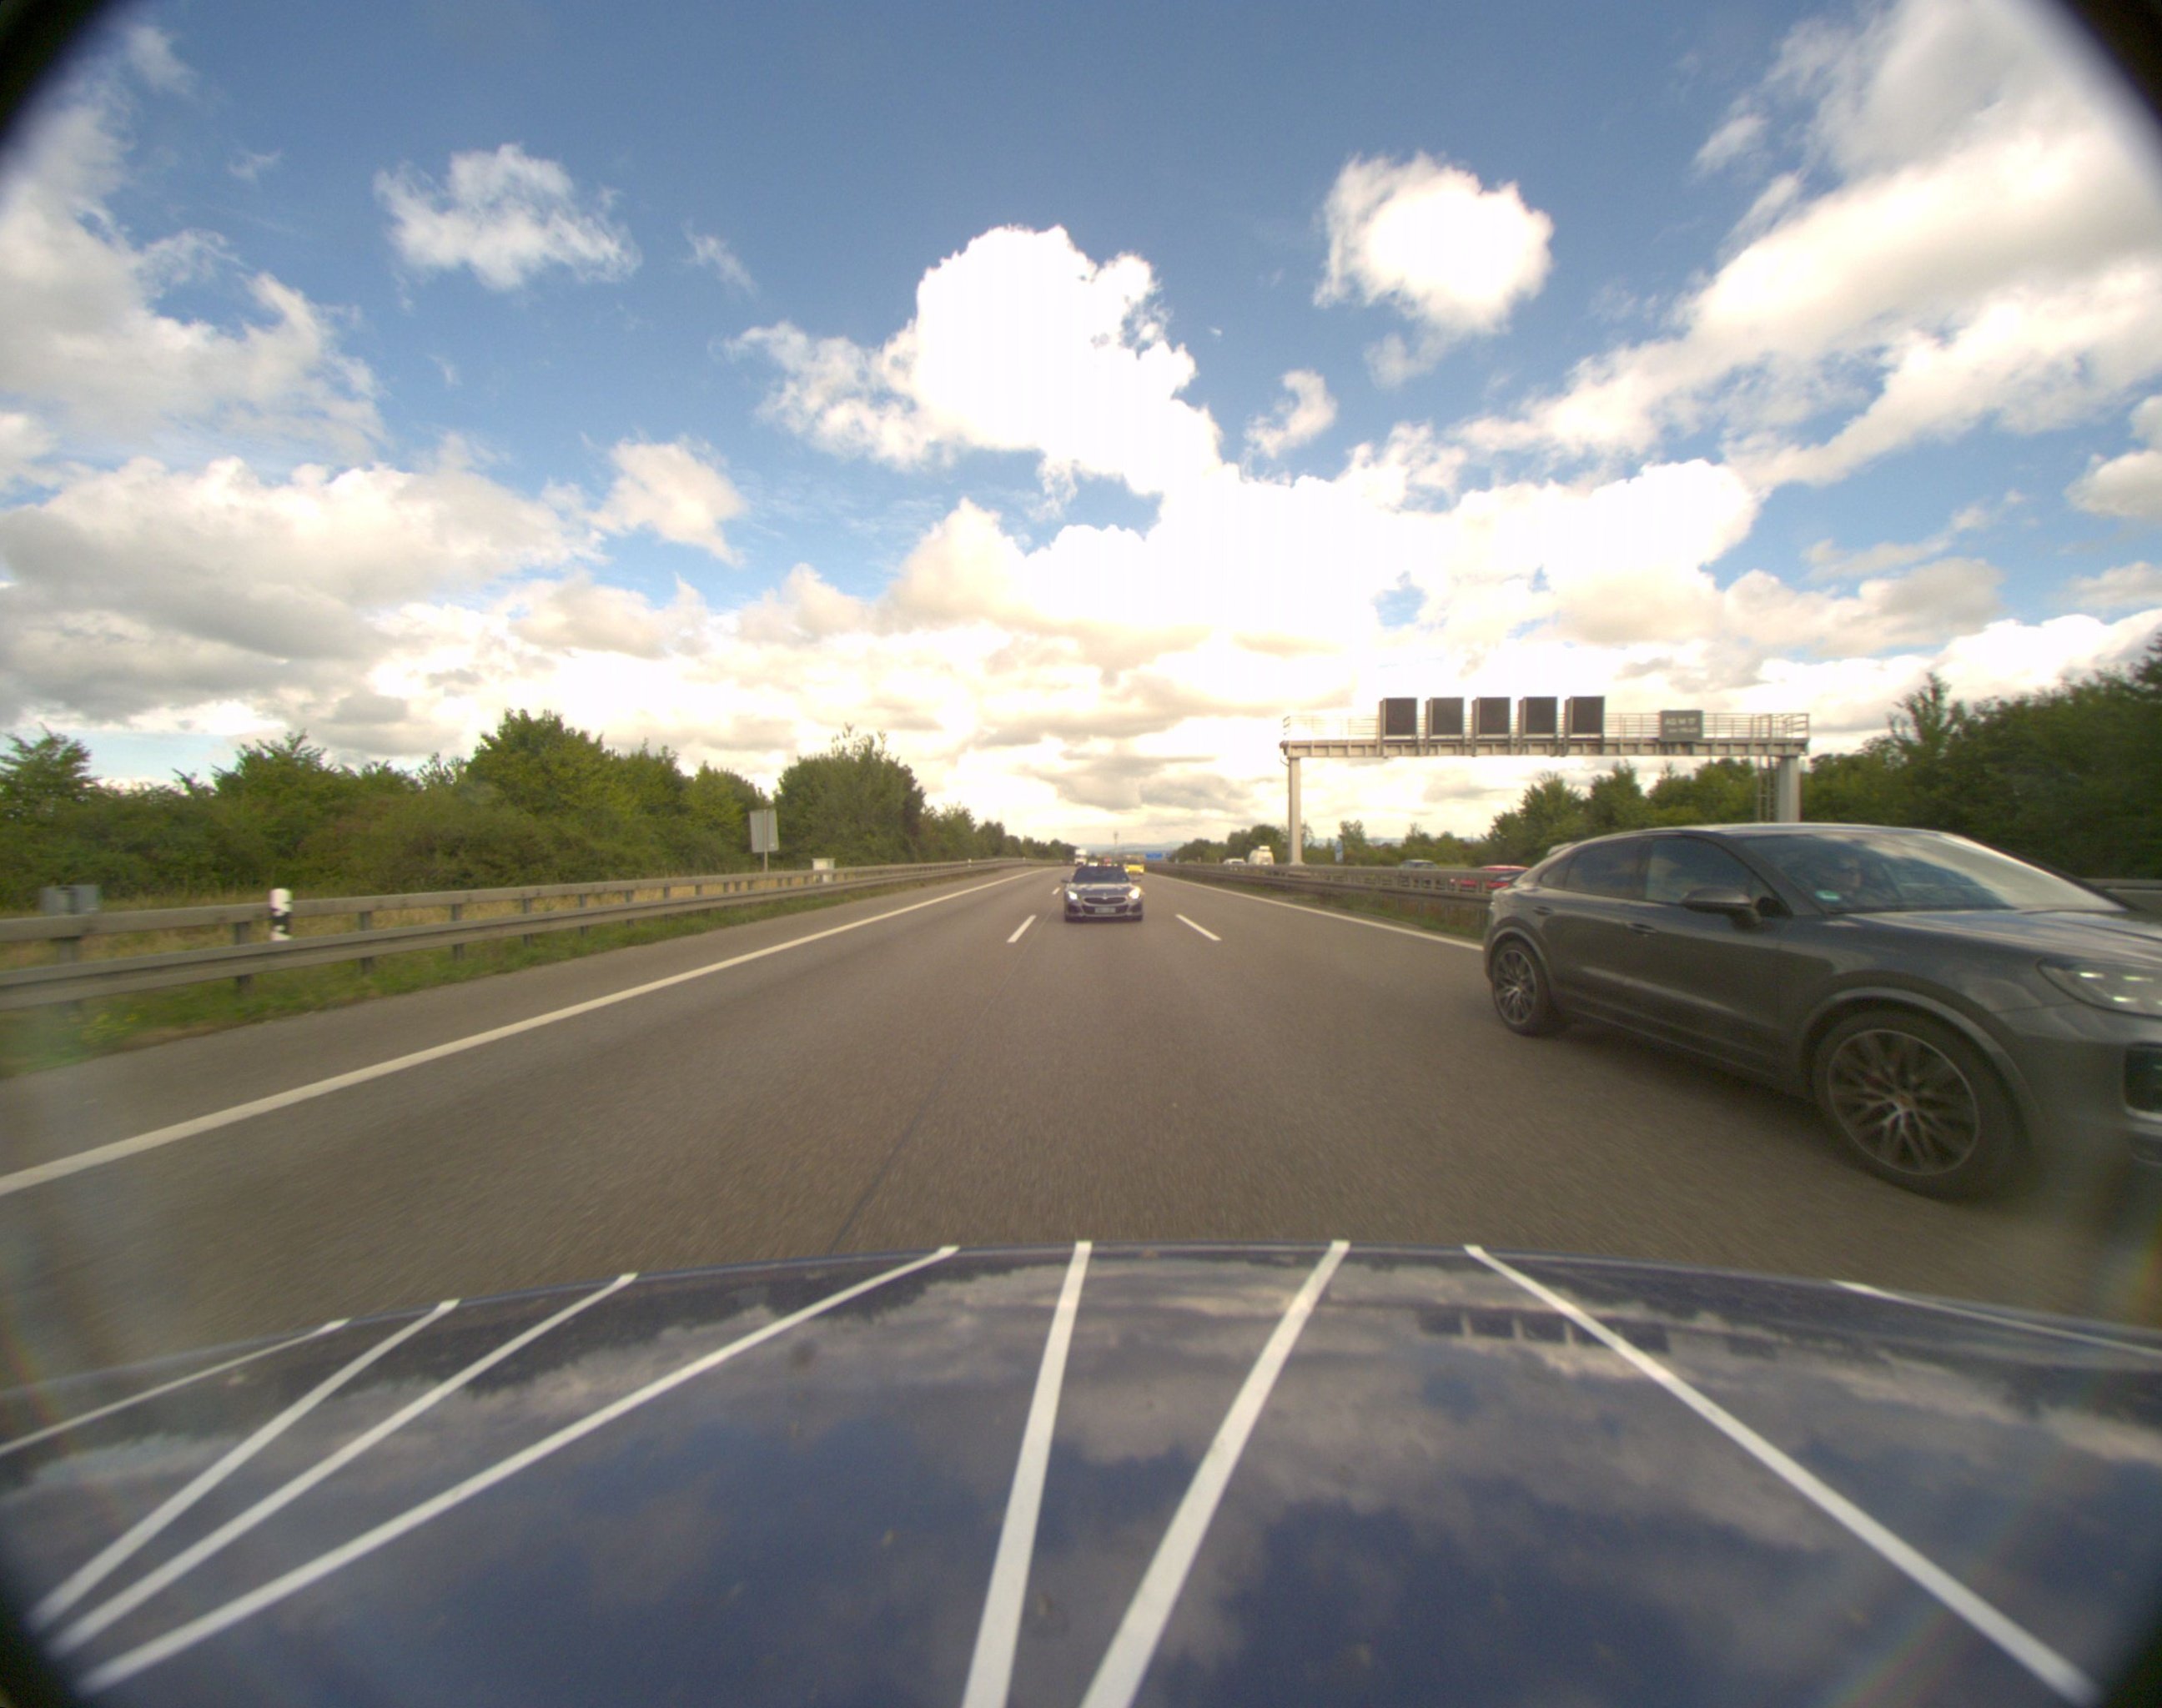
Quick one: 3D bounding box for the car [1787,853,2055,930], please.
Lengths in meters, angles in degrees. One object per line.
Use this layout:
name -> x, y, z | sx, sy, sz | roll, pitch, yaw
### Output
car -> 20.604, 0.824, 18.984 | 1.731, 1.626, 4.430 | -2, 1, -1

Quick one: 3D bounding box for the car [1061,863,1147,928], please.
car -> 0.525, 0.956, 19.369 | 1.878, 1.295, 4.941 | -1, 1, 0

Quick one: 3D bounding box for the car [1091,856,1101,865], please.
car -> 2.734, 1.124, 142.204 | 1.737, 1.608, 4.000 | -1, 0, 0

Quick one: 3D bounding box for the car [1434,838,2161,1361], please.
car -> 4.375, 0.750, 4.581 | 1.917, 1.626, 5.499 | -1, 1, 0

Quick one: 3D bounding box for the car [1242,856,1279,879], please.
car -> 13.823, 1.016, 58.760 | 1.731, 1.626, 4.430 | -2, 1, -1

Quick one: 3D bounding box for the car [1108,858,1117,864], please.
car -> 6.856, 1.461, 165.697 | 1.593, 1.307, 3.977 | 1, 1, 0

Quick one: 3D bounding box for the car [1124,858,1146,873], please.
car -> 5.122, 1.097, 72.515 | 1.811, 1.307, 4.247 | 1, 1, 0

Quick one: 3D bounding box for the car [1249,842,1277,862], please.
car -> 20.871, -0.239, 87.498 | 2.003, 2.271, 4.577 | -2, 1, -1

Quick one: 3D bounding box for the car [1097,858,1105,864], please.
car -> 5.569, 1.866, 210.657 | 1.999, 1.619, 4.429 | 0, 0, -1
